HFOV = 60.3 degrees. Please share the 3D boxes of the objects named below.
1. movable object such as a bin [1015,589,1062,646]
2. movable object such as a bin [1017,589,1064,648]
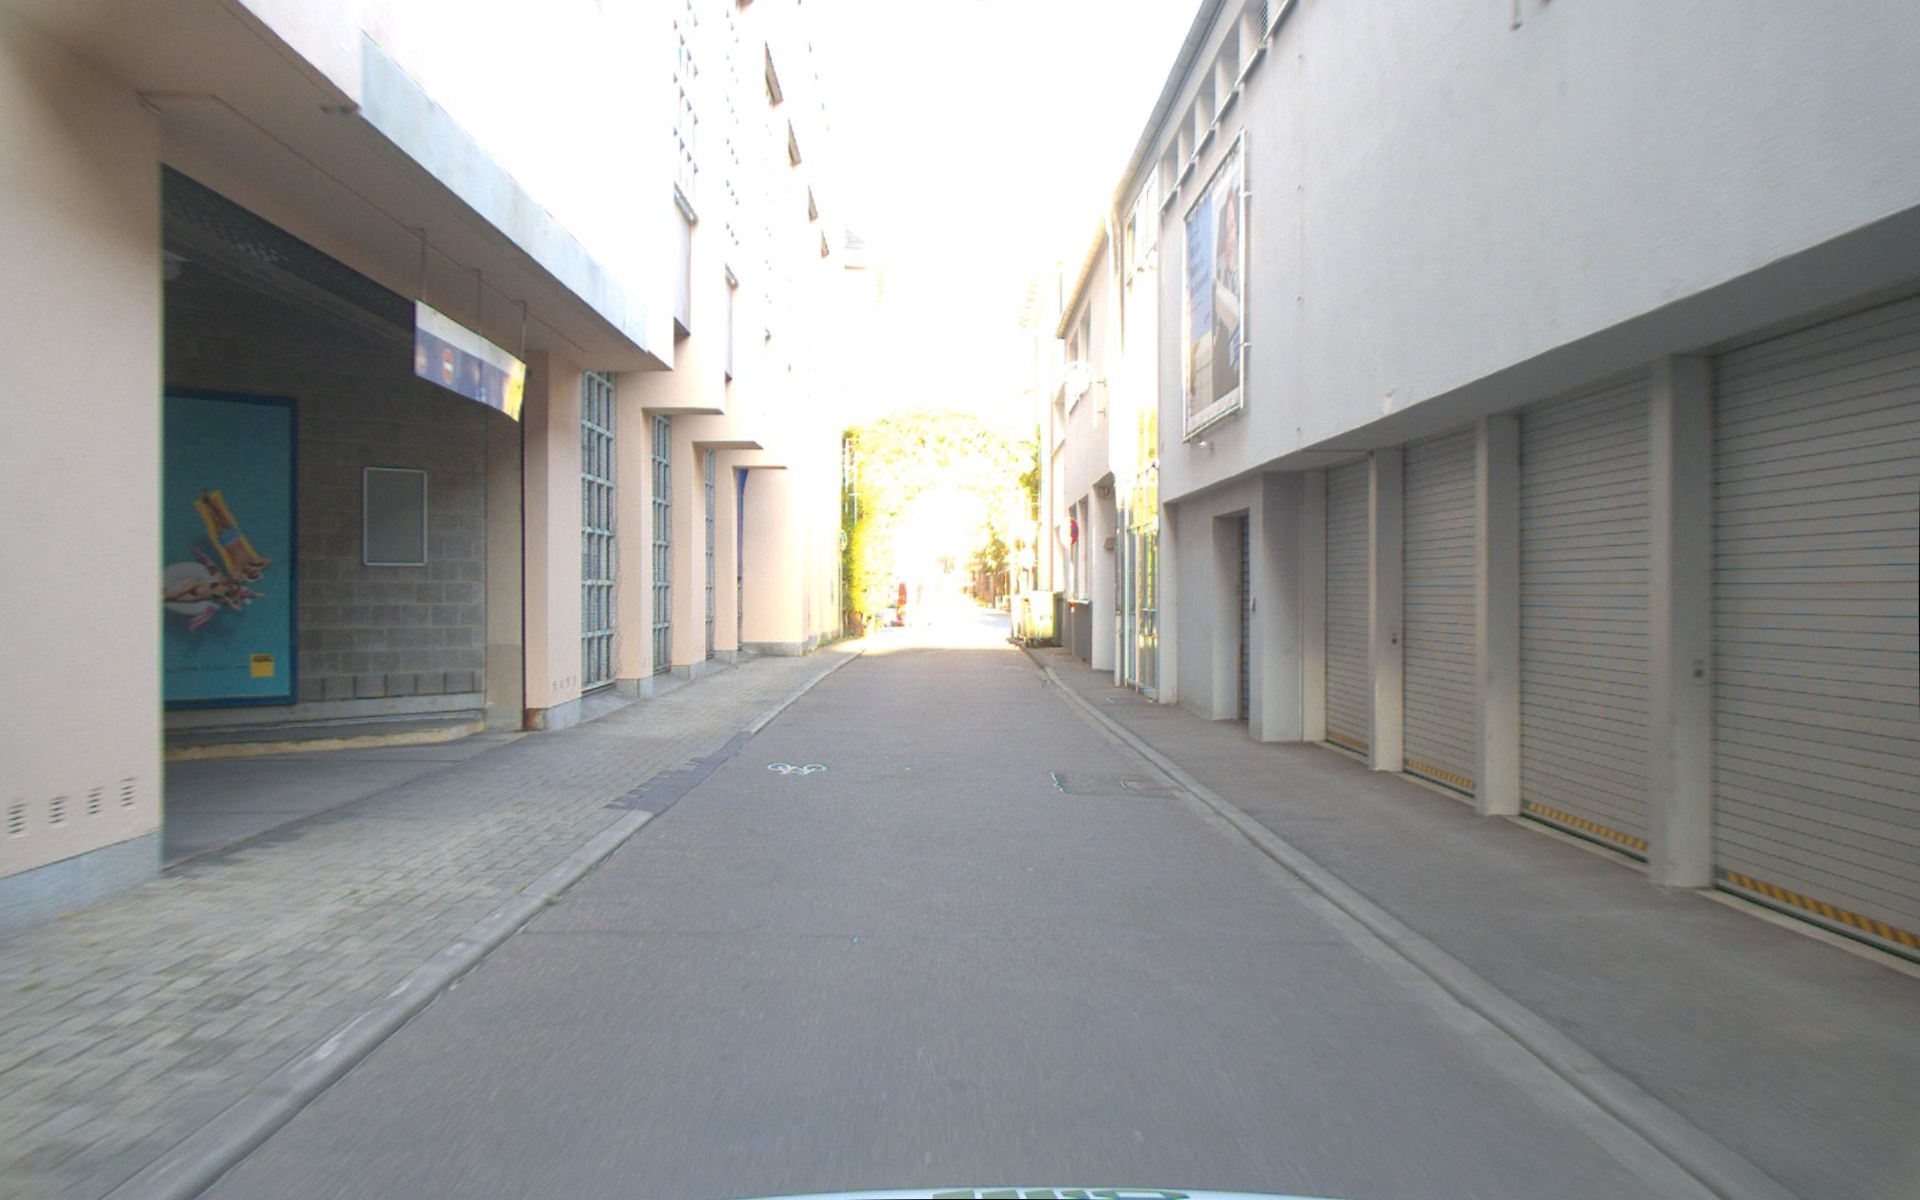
[{"bbox_3d":[1.998,0.442,42.278,1.043,1.390,1.341,-2,0,-3],"label":"movable object such as a bin"},{"bbox_3d":[1.983,0.440,40.872,0.919,1.390,1.340,-2,0,-7],"label":"movable object such as a bin"}]
